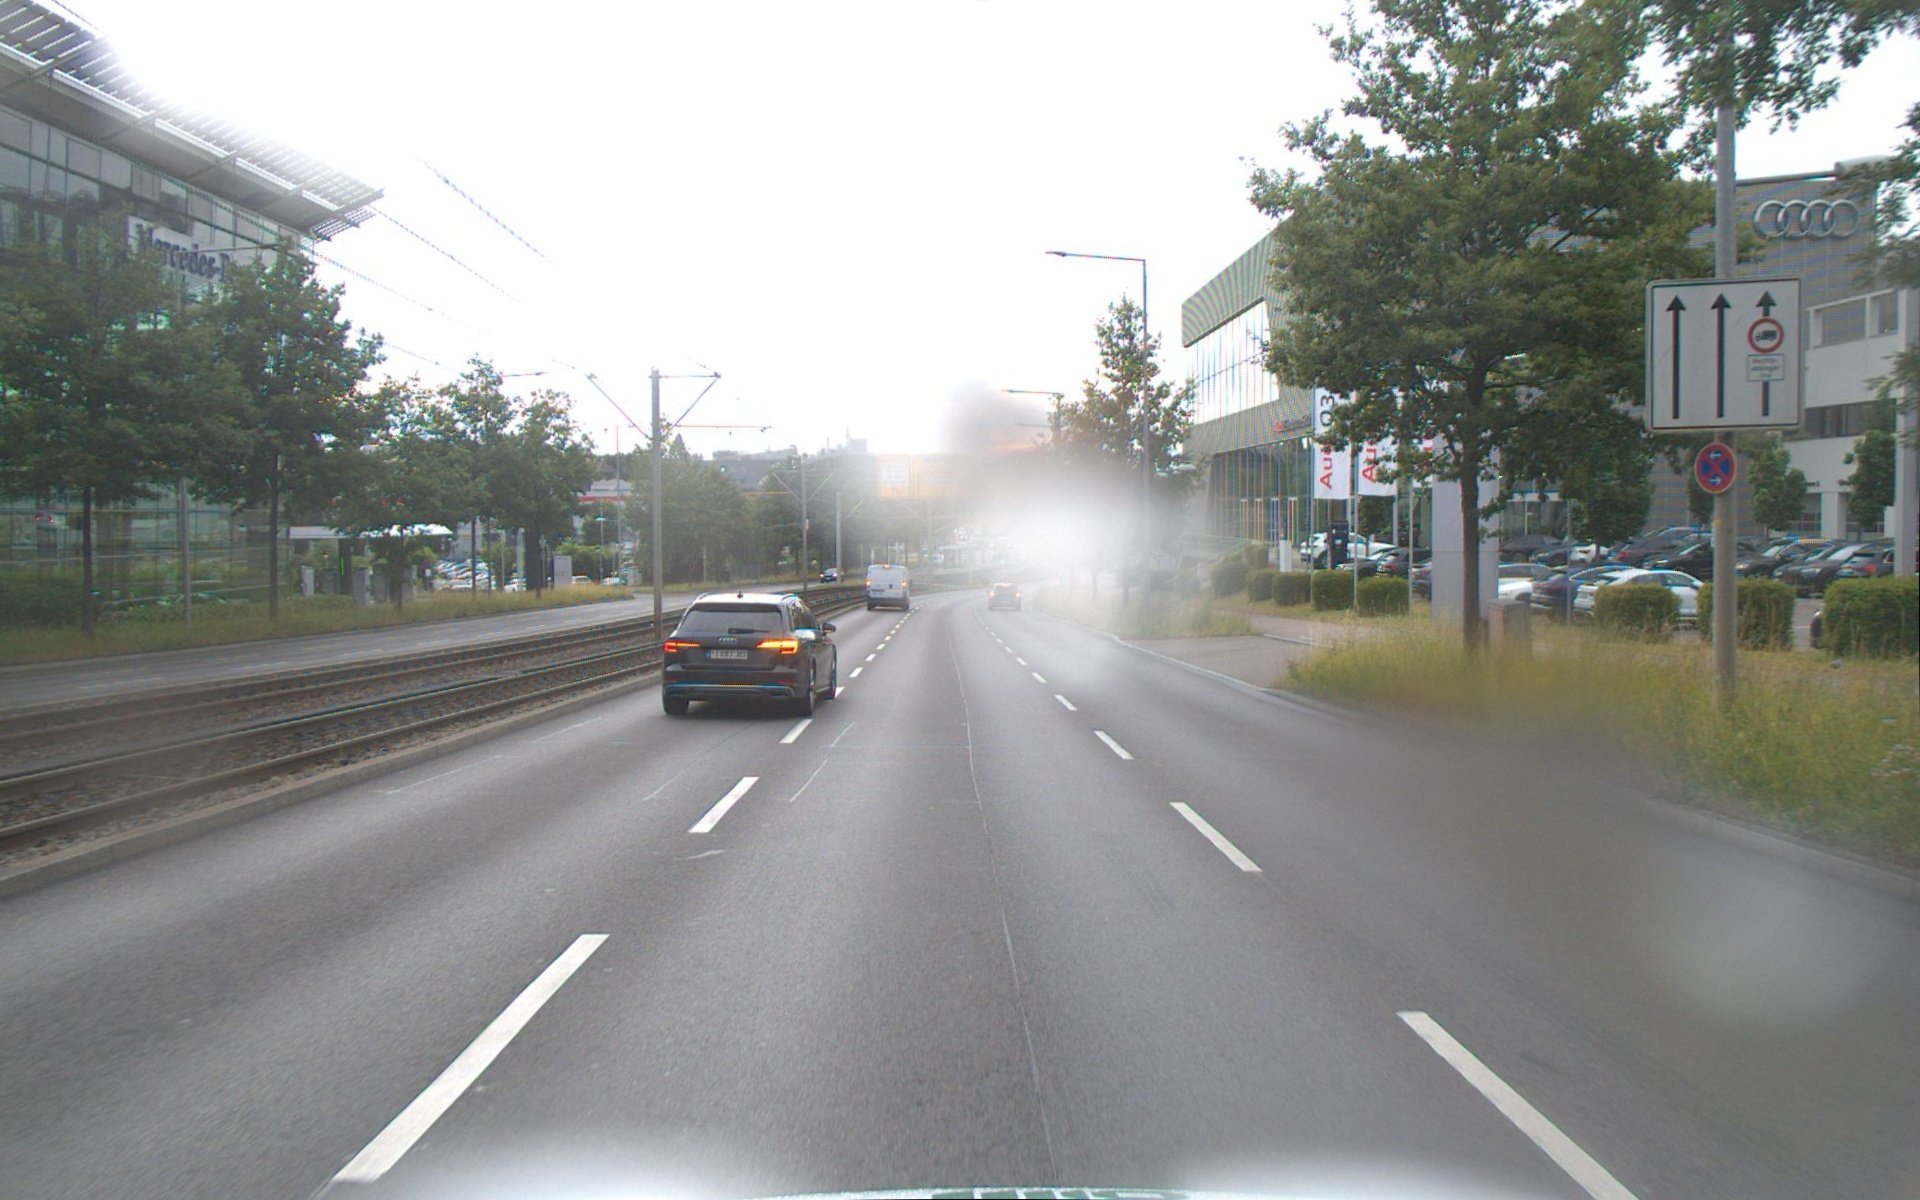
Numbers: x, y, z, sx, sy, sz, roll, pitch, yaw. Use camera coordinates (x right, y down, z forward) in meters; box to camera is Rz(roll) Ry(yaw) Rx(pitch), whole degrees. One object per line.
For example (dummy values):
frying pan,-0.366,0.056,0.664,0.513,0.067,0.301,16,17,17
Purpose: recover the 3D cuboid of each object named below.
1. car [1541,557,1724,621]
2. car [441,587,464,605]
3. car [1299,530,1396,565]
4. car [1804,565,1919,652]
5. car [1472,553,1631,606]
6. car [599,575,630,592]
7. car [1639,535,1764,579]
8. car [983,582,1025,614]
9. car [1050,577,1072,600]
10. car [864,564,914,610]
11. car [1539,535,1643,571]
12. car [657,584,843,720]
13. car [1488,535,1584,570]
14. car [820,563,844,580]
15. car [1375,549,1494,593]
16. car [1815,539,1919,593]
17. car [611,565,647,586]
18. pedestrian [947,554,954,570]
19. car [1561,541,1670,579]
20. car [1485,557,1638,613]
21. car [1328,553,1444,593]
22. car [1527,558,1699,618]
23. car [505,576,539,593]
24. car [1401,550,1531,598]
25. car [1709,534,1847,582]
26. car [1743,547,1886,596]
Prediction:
car,17.533,-0.272,43.232,4.030,1.622,1.944,0,-1,-9
car,-45.953,-0.370,149.757,1.727,1.520,3.974,1,0,-22
car,18.382,-2.469,78.489,4.173,1.601,1.692,0,1,-2
car,18.453,0.147,31.087,1.814,1.621,4.313,-1,0,-31
car,18.747,-0.633,52.513,4.428,1.622,1.692,0,0,-2
car,-32.729,-1.520,156.830,1.969,1.536,3.967,1,0,-26
car,28.240,-1.657,63.086,4.023,1.601,1.692,-1,2,-2
car,2.365,-0.099,89.779,1.981,1.651,3.998,1,0,-3
car,9.093,-1.087,149.181,1.979,1.800,4.004,1,4,3
car,-3.661,-0.656,84.663,2.461,2.215,5.146,1,0,-3
car,28.580,-2.132,74.989,4.022,1.601,1.759,0,1,-2
car,-2.517,0.559,20.852,1.728,1.489,4.627,1,1,0
car,27.462,-2.249,78.933,4.022,1.601,1.692,0,1,-2
car,-12.860,-2.849,165.940,1.844,1.547,4.405,-3,1,2
car,18.032,-1.107,62.971,4.022,1.601,1.692,0,1,-2
car,28.655,-1.036,50.691,4.023,1.602,1.692,0,0,-2
car,-28.368,-2.073,141.862,1.951,1.679,4.002,1,0,4
pedestrian,-1.107,-4.437,194.073,0.623,1.886,0.751,1,0,11
car,28.201,-1.728,71.183,4.022,1.601,1.692,0,1,-2
car,18.207,-0.442,50.147,4.022,1.622,1.692,0,0,-2
car,17.566,-1.106,68.272,4.331,1.601,1.692,0,1,-2
car,18.014,-0.321,45.730,4.022,1.622,1.870,0,0,-2
car,-40.599,-1.470,153.382,1.974,1.536,3.957,1,0,-32
car,17.731,-0.916,58.063,4.022,1.636,1.692,0,1,-2
car,28.800,-1.474,58.293,4.022,1.601,1.692,-1,0,-2
car,29.095,-0.975,56.381,4.023,1.601,1.692,-1,1,-2
